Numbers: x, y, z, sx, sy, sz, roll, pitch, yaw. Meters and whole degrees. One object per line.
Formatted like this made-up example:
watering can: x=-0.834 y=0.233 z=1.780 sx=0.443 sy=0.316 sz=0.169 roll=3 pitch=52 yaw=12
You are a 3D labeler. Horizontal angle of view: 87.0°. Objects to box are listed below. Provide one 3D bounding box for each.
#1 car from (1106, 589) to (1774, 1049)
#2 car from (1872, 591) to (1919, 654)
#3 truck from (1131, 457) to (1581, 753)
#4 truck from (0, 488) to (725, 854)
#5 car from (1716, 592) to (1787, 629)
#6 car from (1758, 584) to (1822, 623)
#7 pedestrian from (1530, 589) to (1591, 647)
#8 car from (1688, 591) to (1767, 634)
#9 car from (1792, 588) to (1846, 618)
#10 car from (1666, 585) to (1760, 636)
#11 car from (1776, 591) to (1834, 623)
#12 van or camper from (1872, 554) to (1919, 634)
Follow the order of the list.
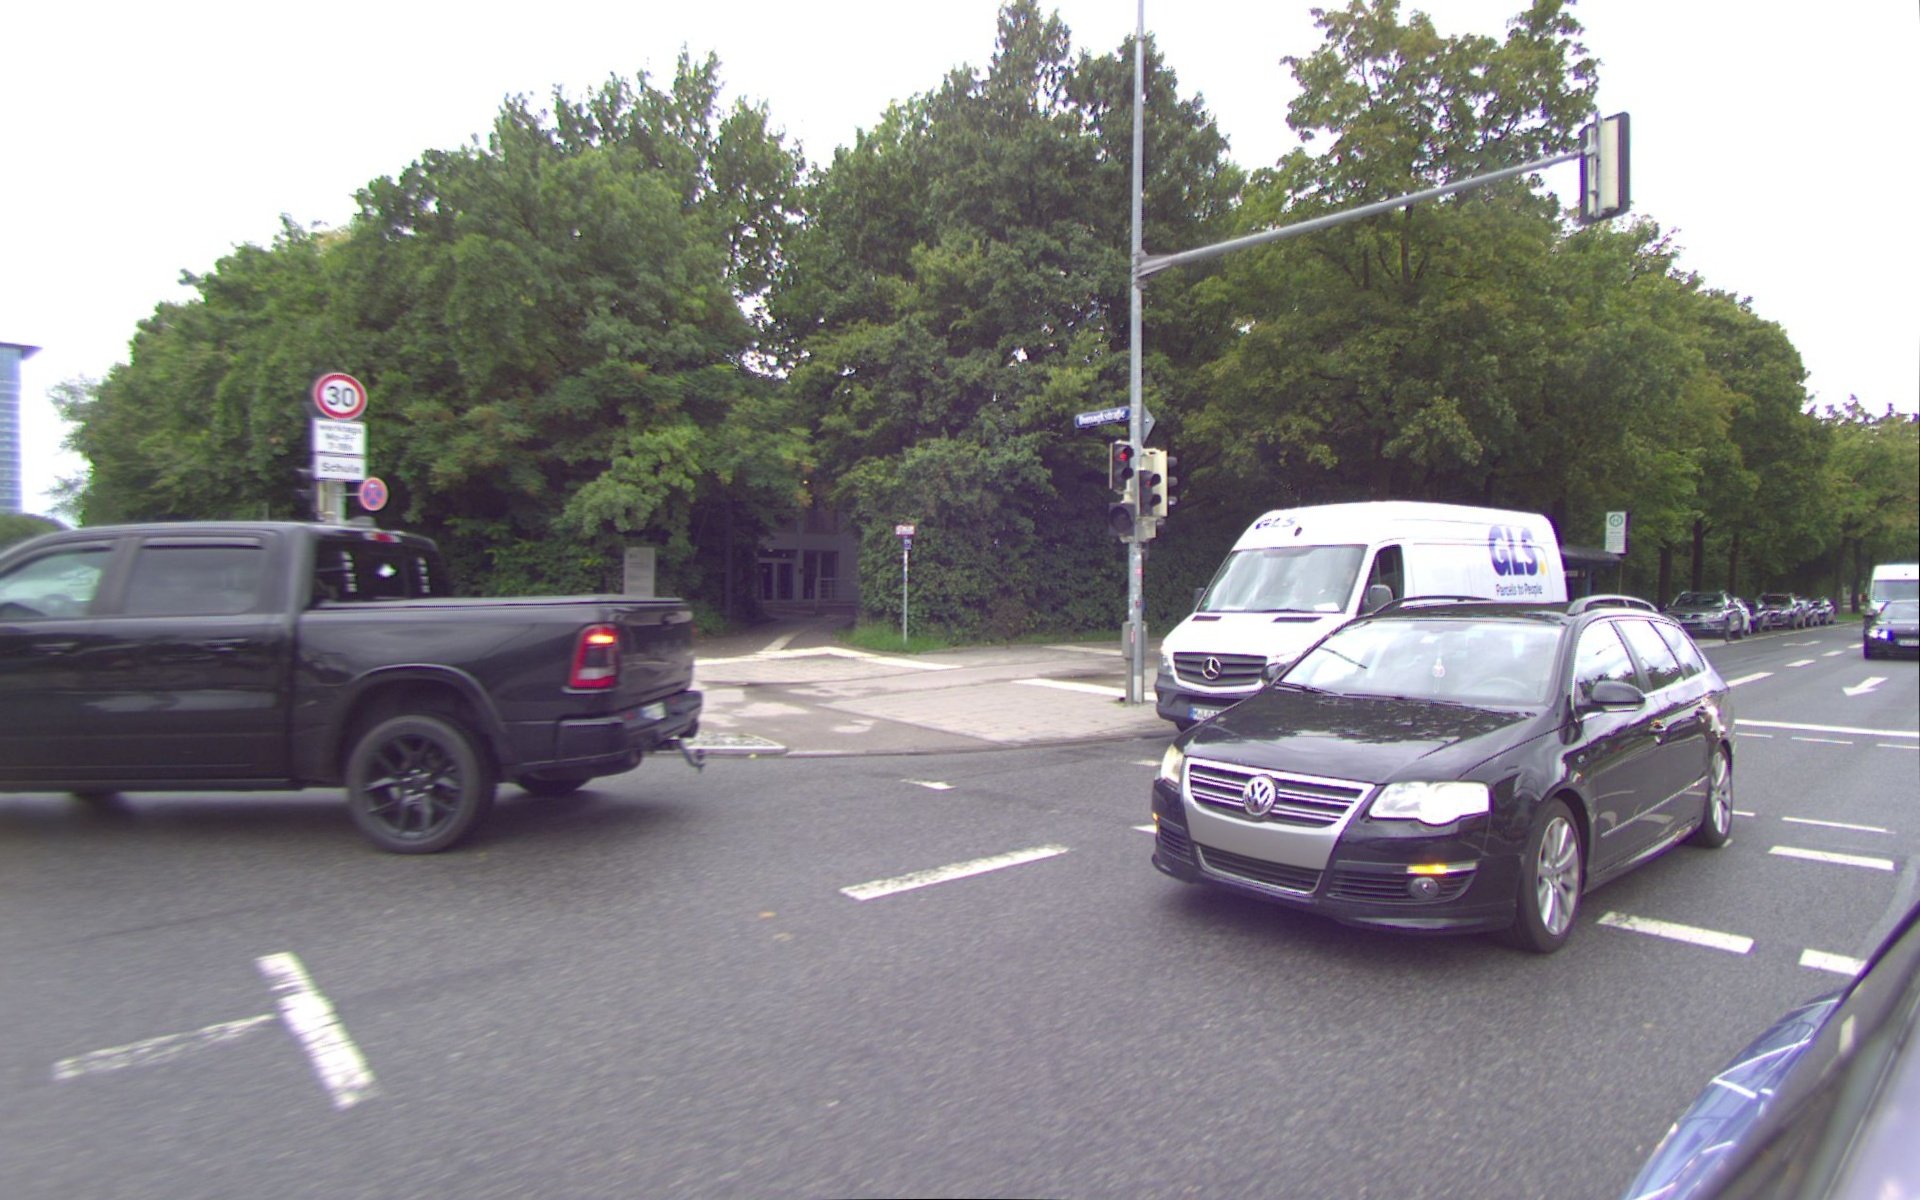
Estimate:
car: x=2.918 y=0.687 z=5.505 sx=4.593 sy=1.493 sz=1.749 roll=-1 pitch=1 yaw=-43
car: x=23.790 y=0.507 z=24.652 sx=4.590 sy=1.447 sz=1.817 roll=0 pitch=0 yaw=-41
truck: x=5.097 y=0.002 z=12.128 sx=7.101 sy=2.636 sz=1.997 roll=-1 pitch=1 yaw=-41
truck: x=-4.672 y=0.366 z=6.806 sx=5.703 sy=2.039 sz=2.105 roll=0 pitch=1 yaw=1
car: x=33.638 y=0.416 z=42.963 sx=4.184 sy=1.446 sz=1.749 roll=-1 pitch=1 yaw=-43
car: x=38.190 y=0.132 z=46.542 sx=4.184 sy=1.670 sz=1.749 roll=-1 pitch=1 yaw=-43
pedestrian: x=14.952 y=0.457 z=25.218 sx=0.601 sy=1.401 sz=1.154 roll=0 pitch=-2 yaw=-43
car: x=29.738 y=0.429 z=39.160 sx=4.323 sy=1.543 sz=1.749 roll=-1 pitch=1 yaw=-43
car: x=45.570 y=0.130 z=53.673 sx=4.184 sy=1.485 sz=1.749 roll=-1 pitch=1 yaw=-43
car: x=26.334 y=0.307 z=35.345 sx=4.323 sy=1.670 sz=1.881 roll=-1 pitch=1 yaw=-43
car: x=41.960 y=0.303 z=50.241 sx=3.971 sy=1.485 sz=1.749 roll=-1 pitch=1 yaw=-43
van or camper: x=33.733 y=-0.216 z=35.230 sx=6.952 sy=2.593 sz=2.181 roll=0 pitch=1 yaw=-42
